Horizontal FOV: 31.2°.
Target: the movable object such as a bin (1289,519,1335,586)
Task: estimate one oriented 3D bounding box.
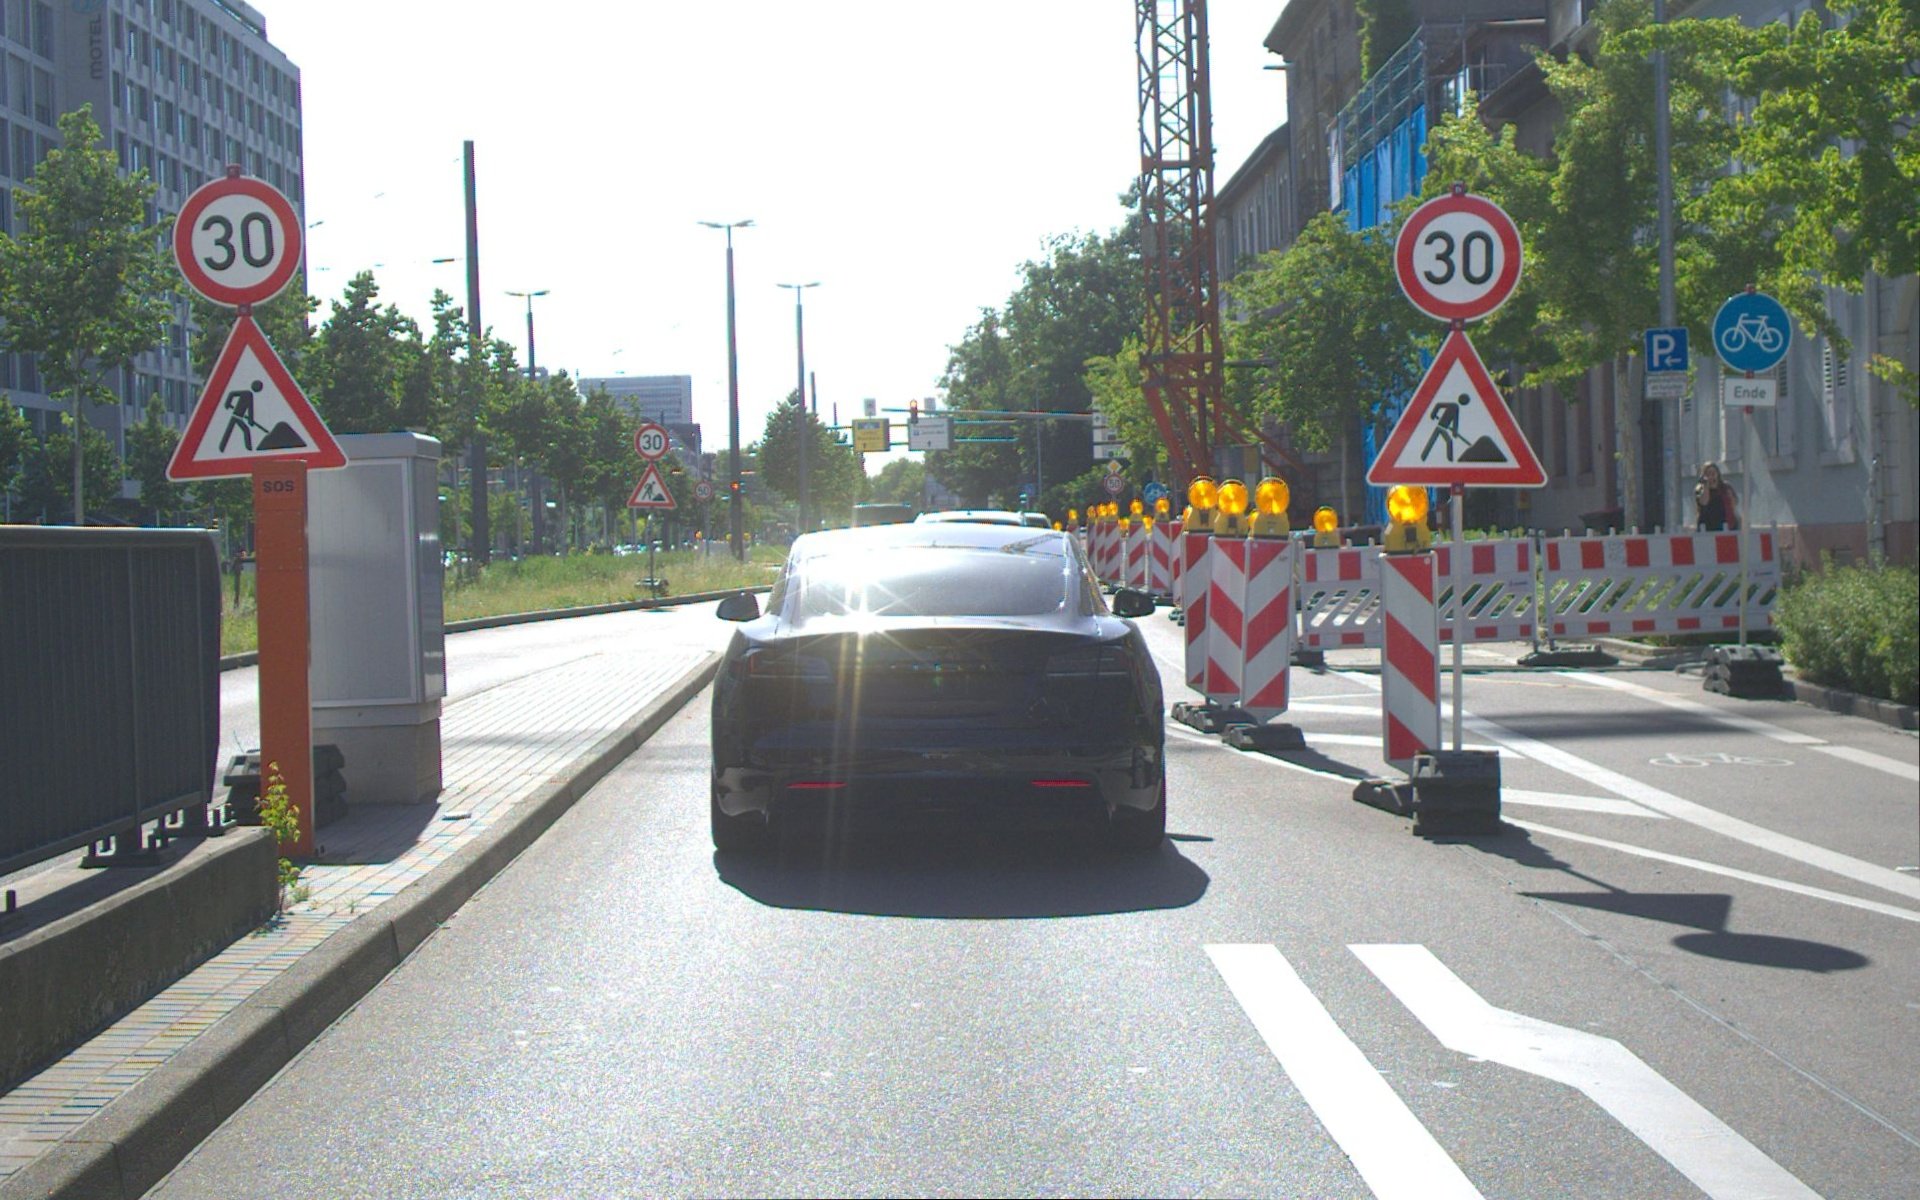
[{"bbox_3d":[5.846,-0.800,57.113,0.595,1.054,0.730,-5,1,1],"label":"movable object such as a bin"}]

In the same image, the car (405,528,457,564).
[{"bbox_3d":[-24.999,-2.550,162.618,1.790,1.645,4.000,-2,1,0],"label":"car"}]

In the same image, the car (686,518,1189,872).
[{"bbox_3d":[-0.119,0.336,16.308,2.051,1.439,4.525,0,1,-1],"label":"car"}]

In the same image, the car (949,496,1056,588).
[{"bbox_3d":[0.710,-1.006,58.969,1.749,1.522,4.005,-1,1,0],"label":"car"}]

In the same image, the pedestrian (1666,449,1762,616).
[{"bbox_3d":[8.776,-0.790,40.022,0.793,1.922,0.770,-1,1,-18],"label":"pedestrian"}]

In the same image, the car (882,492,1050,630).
[{"bbox_3d":[0.035,-0.466,38.587,1.747,1.422,4.839,-1,1,-1],"label":"car"}]

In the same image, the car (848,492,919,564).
[{"bbox_3d":[-2.463,-2.315,110.217,2.218,2.259,4.485,0,2,-2],"label":"car"}]

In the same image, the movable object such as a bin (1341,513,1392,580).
[{"bbox_3d":[6.741,-0.888,57.029,0.587,1.054,0.783,-6,2,-4],"label":"movable object such as a bin"}]
